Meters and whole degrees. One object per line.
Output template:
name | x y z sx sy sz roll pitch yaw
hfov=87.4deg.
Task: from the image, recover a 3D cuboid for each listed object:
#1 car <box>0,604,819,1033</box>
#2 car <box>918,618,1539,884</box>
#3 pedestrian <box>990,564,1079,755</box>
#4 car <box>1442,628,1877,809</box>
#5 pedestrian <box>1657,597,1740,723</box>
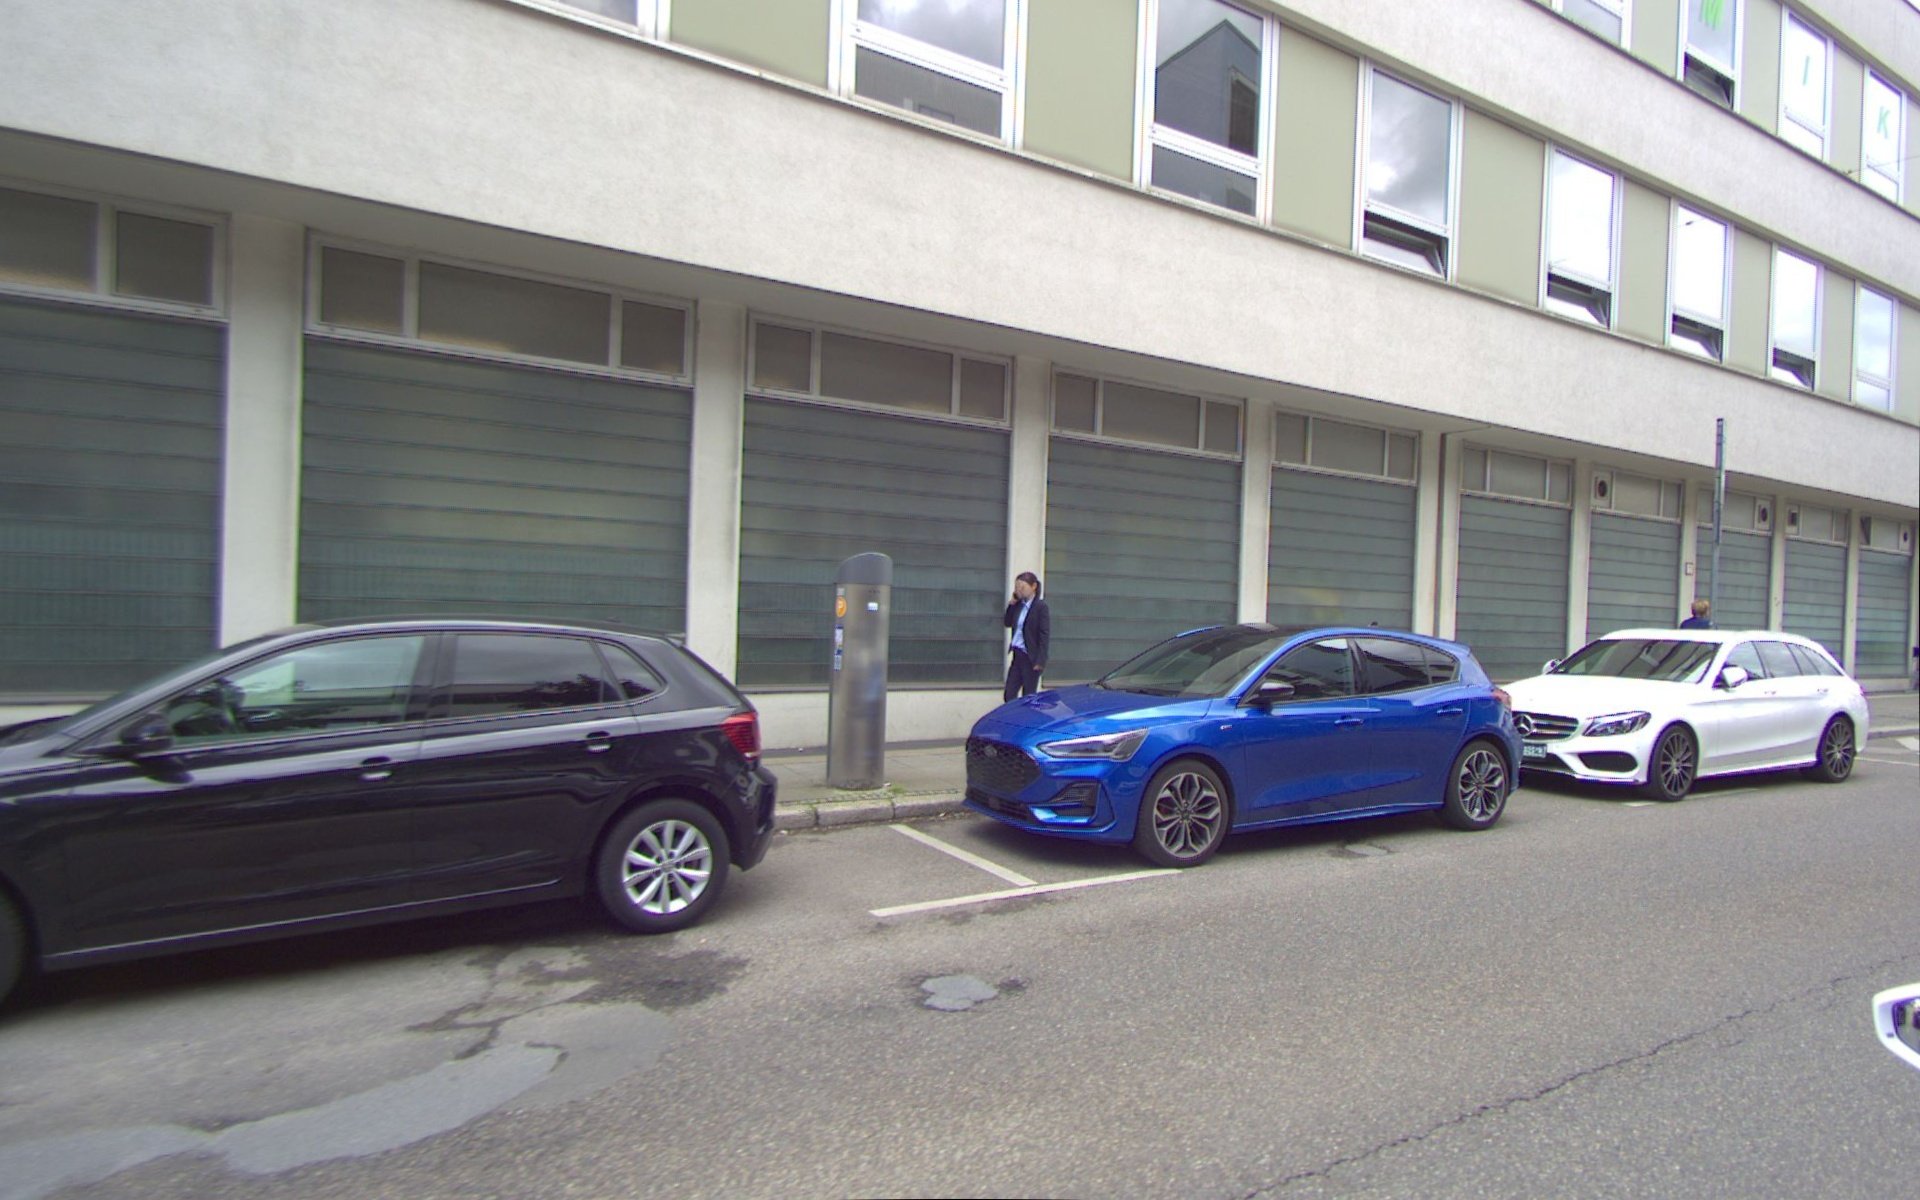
car | -2.763 0.774 4.677 3.827 1.444 1.707 2 -2 -32
car | 1.980 0.886 7.245 4.208 1.444 1.809 1 -2 -27
pedestrian | 0.716 0.544 9.571 0.581 1.741 0.648 1 0 31
car | 6.990 1.031 9.939 4.495 1.453 1.664 1 -2 -28
pedestrian | 10.582 0.840 14.395 1.043 1.741 0.586 1 0 -31
